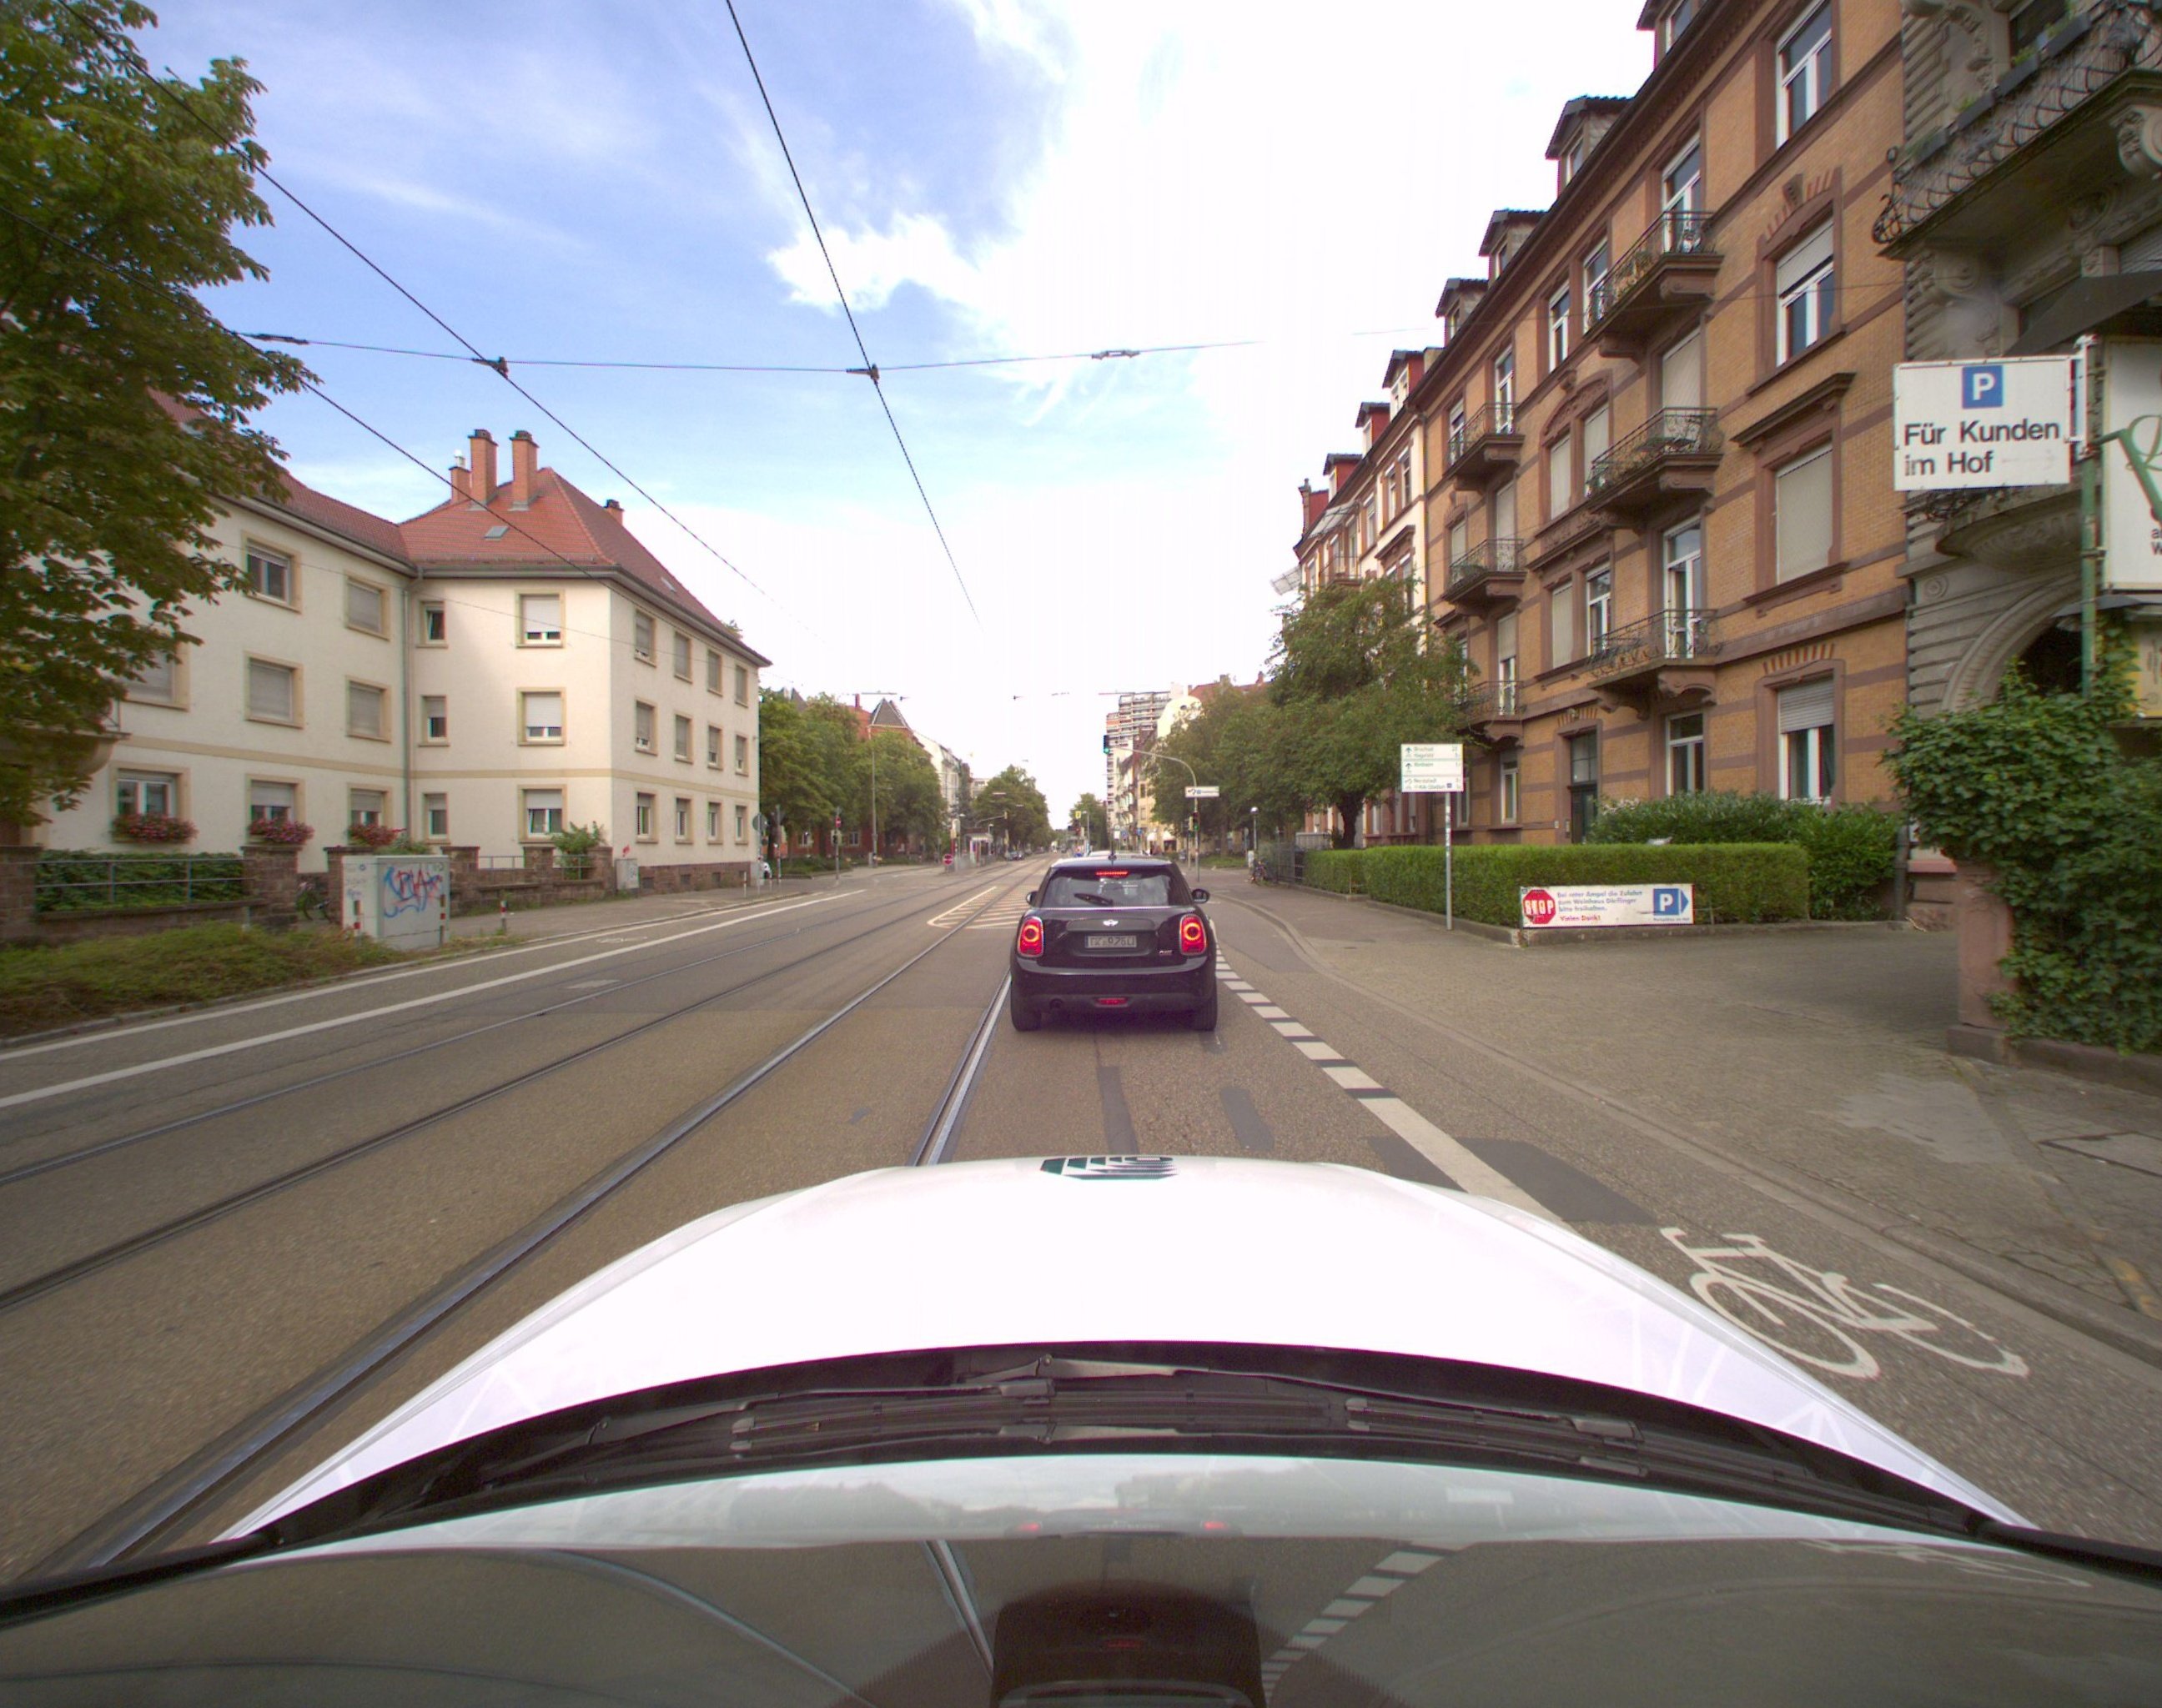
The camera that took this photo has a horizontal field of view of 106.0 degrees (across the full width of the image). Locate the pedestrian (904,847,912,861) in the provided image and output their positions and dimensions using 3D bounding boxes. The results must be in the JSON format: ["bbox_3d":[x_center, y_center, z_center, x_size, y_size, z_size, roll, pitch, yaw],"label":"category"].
[{"bbox_3d":[-21.152,-0.011,99.645,0.831,1.703,0.731,-1,0,-6],"label":"pedestrian"}]

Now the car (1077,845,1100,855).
[{"bbox_3d":[1.750,-0.931,185.384,5.066,2.272,2.368,-1,0,-42],"label":"car"}]

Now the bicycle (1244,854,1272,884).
[{"bbox_3d":[6.703,0.551,30.901,0.669,1.106,1.671,-1,0,-1],"label":"bicycle"}]

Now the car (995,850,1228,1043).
[{"bbox_3d":[0.322,0.694,8.164,1.744,1.441,4.003,-1,0,3],"label":"car"}]

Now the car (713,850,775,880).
[{"bbox_3d":[-21.514,0.718,51.948,4.105,1.721,1.852,-3,-2,39],"label":"car"}]

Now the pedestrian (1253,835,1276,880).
[{"bbox_3d":[7.396,0.142,32.858,0.727,1.754,0.951,-1,0,4],"label":"pedestrian"}]

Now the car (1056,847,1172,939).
[{"bbox_3d":[0.631,0.640,15.611,1.919,1.510,4.002,-1,0,2],"label":"car"}]

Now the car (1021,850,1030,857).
[{"bbox_3d":[-13.884,-0.130,202.402,1.987,1.552,3.999,-1,0,-1],"label":"car"}]

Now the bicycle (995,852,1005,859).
[{"bbox_3d":[-13.273,0.276,133.251,1.681,1.119,0.566,-1,0,-41],"label":"bicycle"}]

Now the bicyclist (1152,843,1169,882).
[{"bbox_3d":[3.227,0.320,33.156,0.592,1.550,1.014,-1,0,3],"label":"bicyclist"}]

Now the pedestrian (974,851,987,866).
[{"bbox_3d":[-8.681,0.397,70.395,1.057,1.293,0.984,-1,0,-6],"label":"pedestrian"}]

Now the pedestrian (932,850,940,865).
[{"bbox_3d":[-16.648,0.400,93.462,0.691,1.719,0.758,-1,0,1],"label":"pedestrian"}]

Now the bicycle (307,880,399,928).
[{"bbox_3d":[-15.612,1.057,17.520,0.476,0.915,1.671,-1,0,-1],"label":"bicycle"}]

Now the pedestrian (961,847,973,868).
[{"bbox_3d":[-8.746,0.276,62.419,0.851,1.620,0.841,-1,0,-6],"label":"pedestrian"}]

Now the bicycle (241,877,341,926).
[{"bbox_3d":[-16.576,0.975,17.140,0.476,0.915,1.671,-1,0,-1],"label":"bicycle"}]

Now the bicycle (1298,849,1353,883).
[{"bbox_3d":[7.653,0.365,25.522,1.541,1.008,0.510,-1,0,-3],"label":"bicycle"}]

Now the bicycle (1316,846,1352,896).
[{"bbox_3d":[6.766,0.435,21.854,0.514,1.282,1.550,-1,0,1],"label":"bicycle"}]

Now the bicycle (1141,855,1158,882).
[{"bbox_3d":[3.123,0.655,37.179,0.681,1.170,1.697,-1,0,1],"label":"bicycle"}]

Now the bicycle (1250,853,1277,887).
[{"bbox_3d":[6.312,0.531,28.170,0.507,1.088,1.549,-4,0,-1],"label":"bicycle"}]

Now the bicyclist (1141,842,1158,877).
[{"bbox_3d":[3.117,0.236,37.121,0.681,1.564,0.998,-1,0,1],"label":"bicyclist"}]

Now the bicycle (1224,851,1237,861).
[{"bbox_3d":[16.896,0.181,91.940,0.526,1.128,1.905,-1,0,41],"label":"bicycle"}]

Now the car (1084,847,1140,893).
[{"bbox_3d":[1.023,0.489,27.910,1.745,1.441,4.481,-1,0,1],"label":"car"}]

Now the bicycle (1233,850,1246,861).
[{"bbox_3d":[17.790,0.173,91.230,0.526,1.128,1.905,-1,0,41],"label":"bicycle"}]

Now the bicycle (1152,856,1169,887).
[{"bbox_3d":[3.232,0.696,33.166,0.596,1.170,1.698,-1,0,3],"label":"bicycle"}]

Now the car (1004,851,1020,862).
[{"bbox_3d":[-9.644,0.346,114.272,1.746,1.441,4.001,1,0,1],"label":"car"}]
